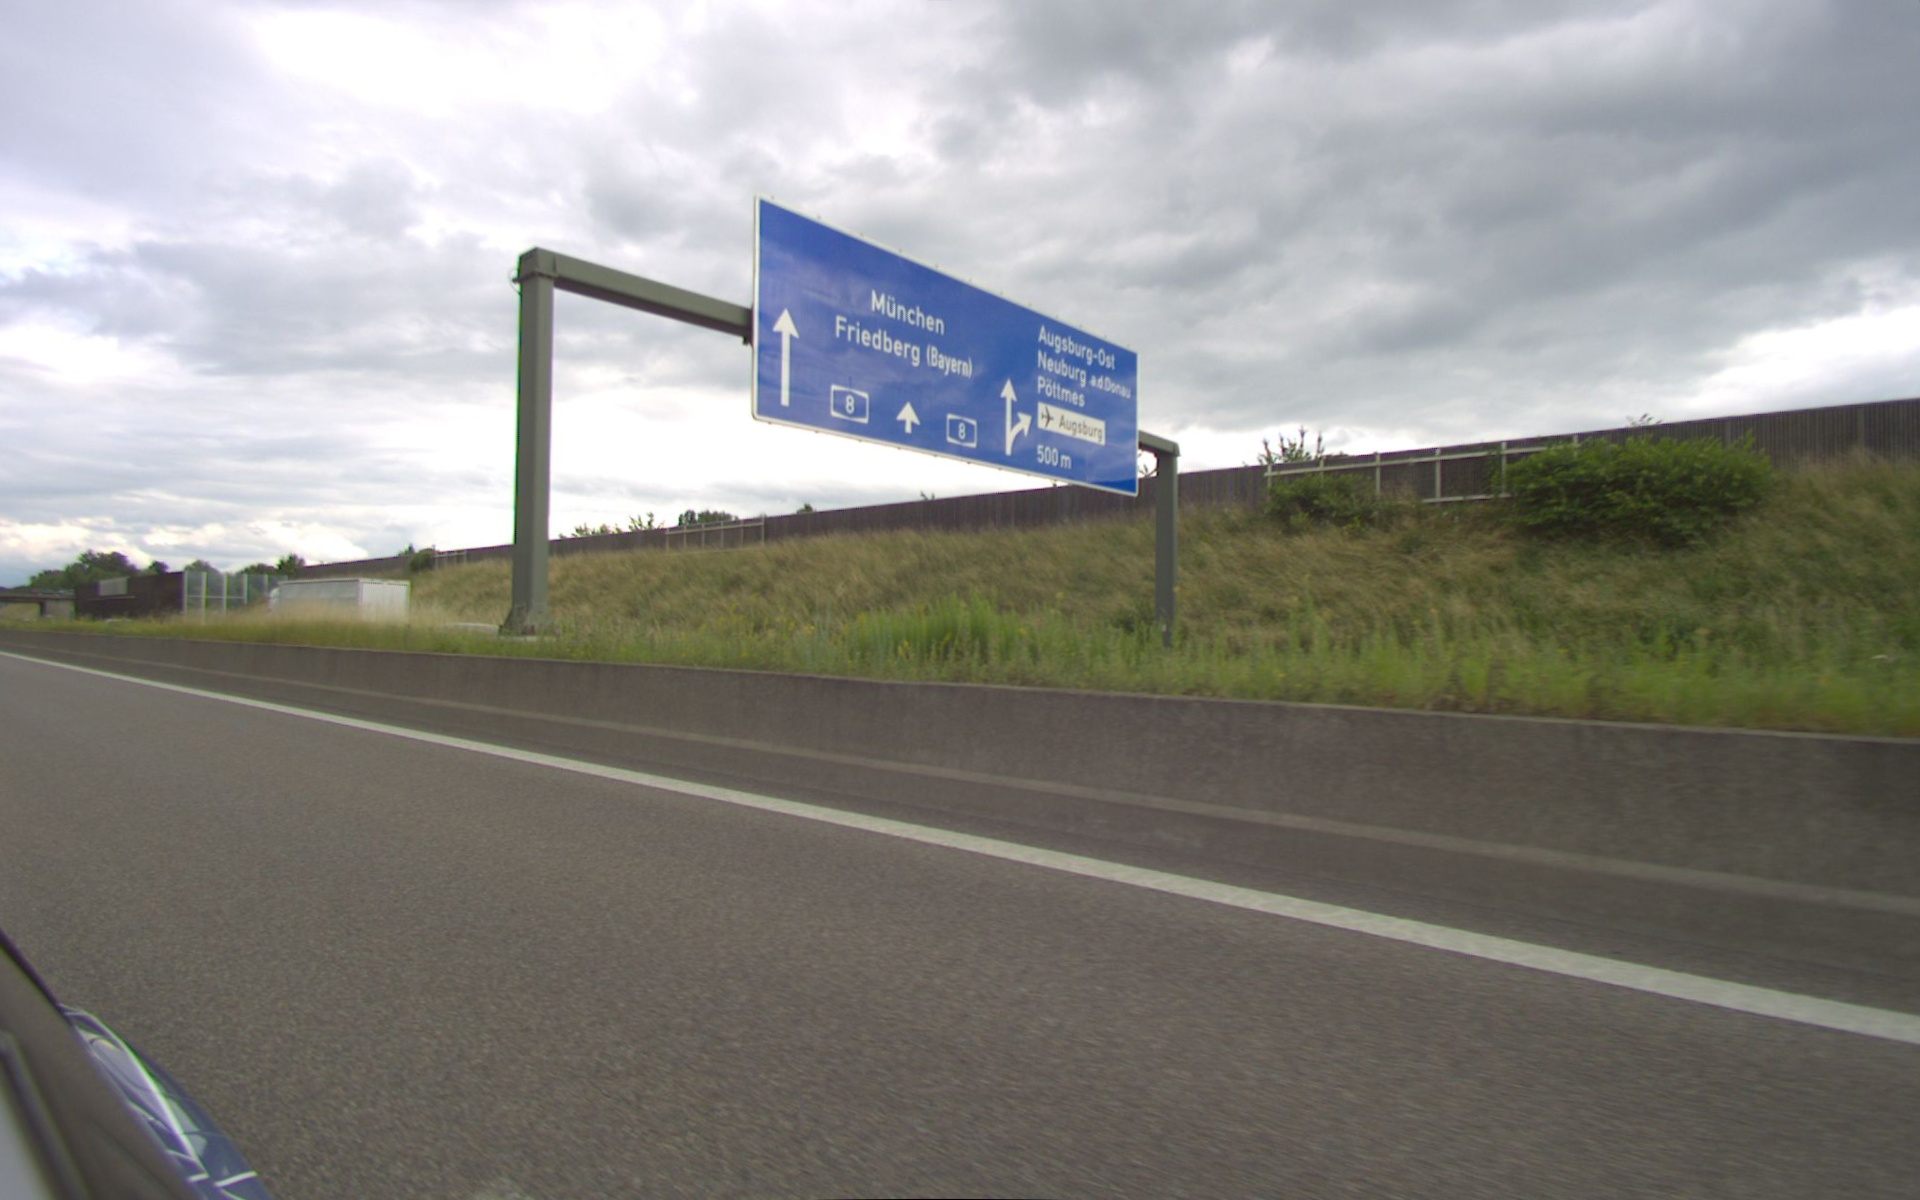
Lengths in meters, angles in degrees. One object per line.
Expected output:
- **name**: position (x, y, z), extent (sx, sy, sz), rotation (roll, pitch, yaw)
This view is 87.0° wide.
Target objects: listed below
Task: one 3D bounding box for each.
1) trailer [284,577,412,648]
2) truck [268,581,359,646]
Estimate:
- **trailer**: position (-35.173, 0.822, 57.850), extent (12.259, 3.705, 2.747), rotation (-2, -3, 42)
- **truck**: position (-39.450, 0.899, 61.640), extent (7.486, 3.705, 2.697), rotation (-2, -3, 42)
